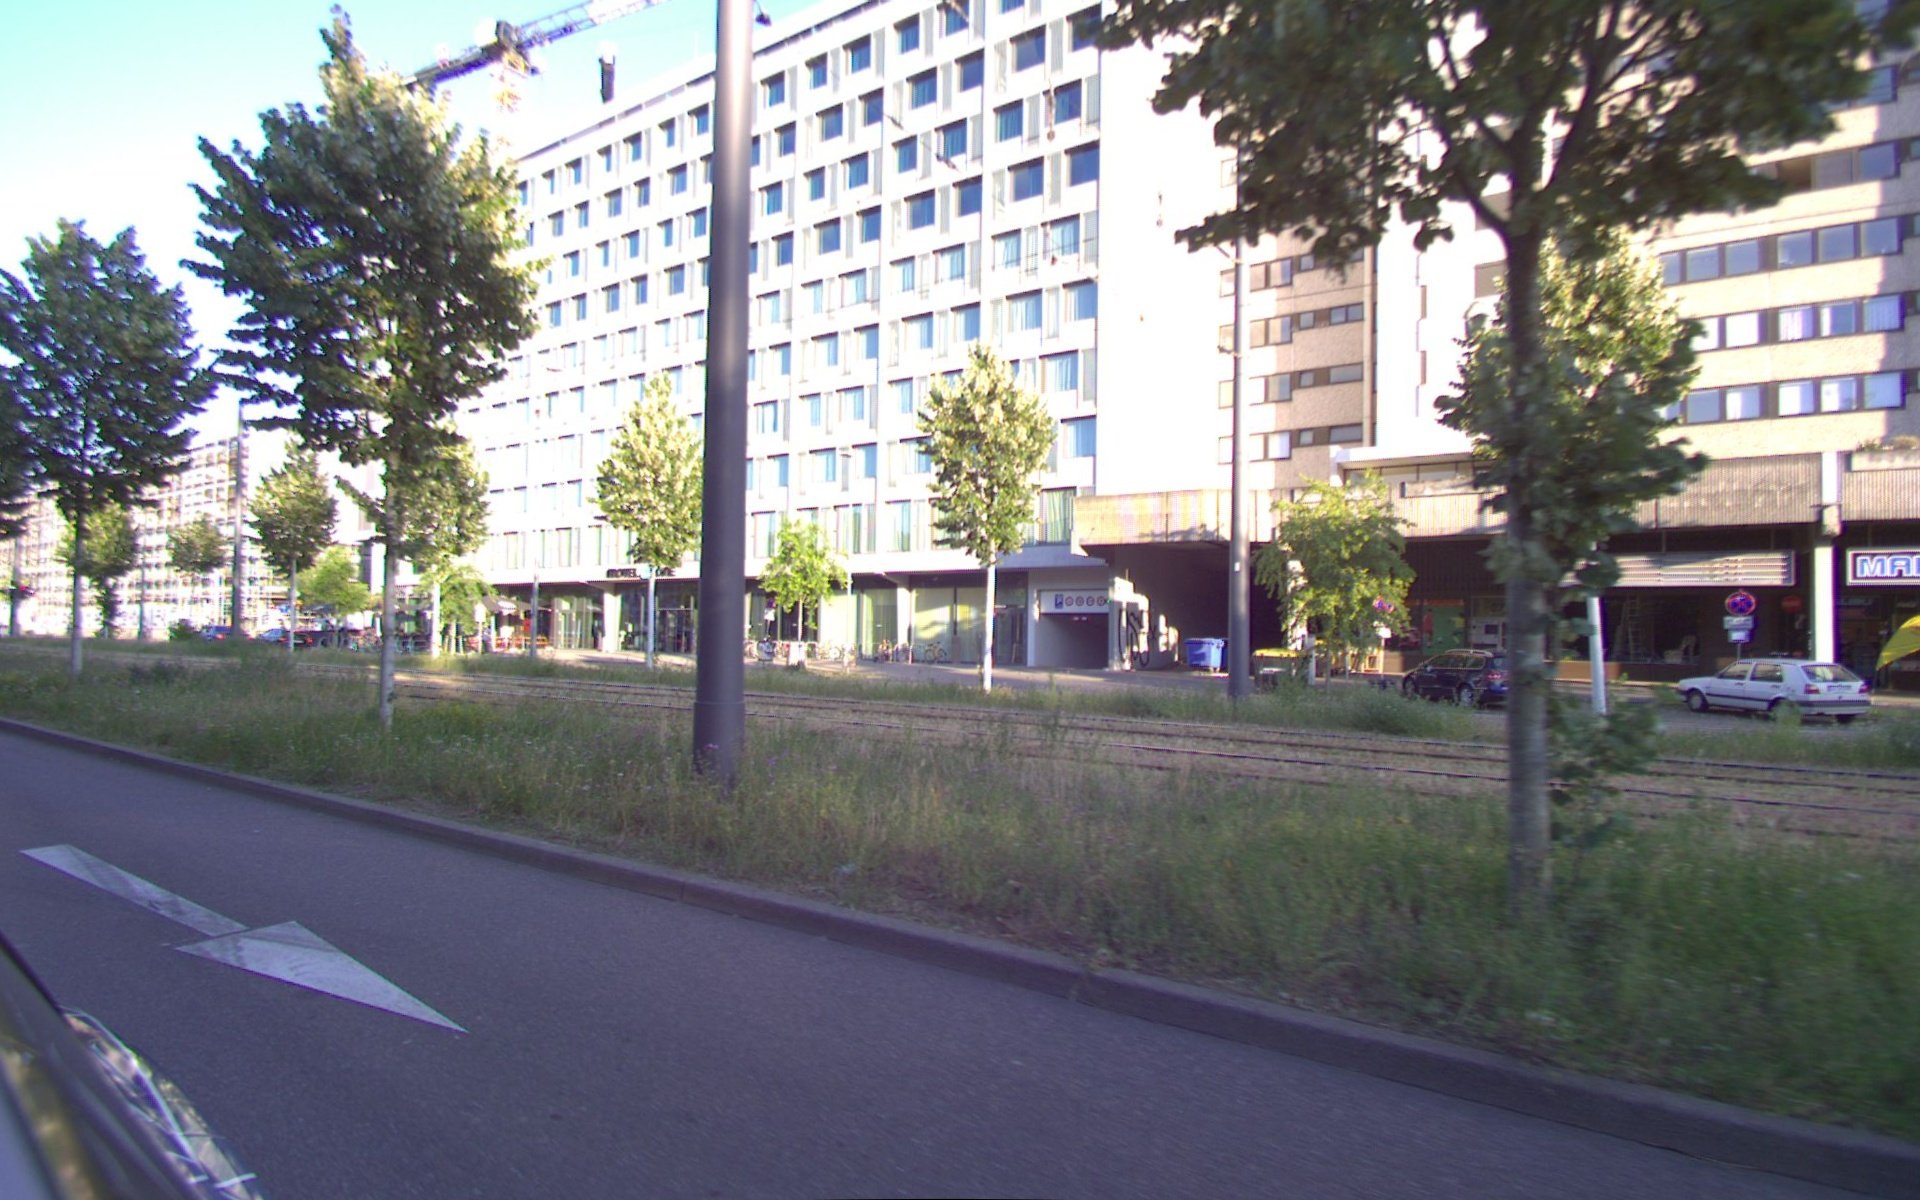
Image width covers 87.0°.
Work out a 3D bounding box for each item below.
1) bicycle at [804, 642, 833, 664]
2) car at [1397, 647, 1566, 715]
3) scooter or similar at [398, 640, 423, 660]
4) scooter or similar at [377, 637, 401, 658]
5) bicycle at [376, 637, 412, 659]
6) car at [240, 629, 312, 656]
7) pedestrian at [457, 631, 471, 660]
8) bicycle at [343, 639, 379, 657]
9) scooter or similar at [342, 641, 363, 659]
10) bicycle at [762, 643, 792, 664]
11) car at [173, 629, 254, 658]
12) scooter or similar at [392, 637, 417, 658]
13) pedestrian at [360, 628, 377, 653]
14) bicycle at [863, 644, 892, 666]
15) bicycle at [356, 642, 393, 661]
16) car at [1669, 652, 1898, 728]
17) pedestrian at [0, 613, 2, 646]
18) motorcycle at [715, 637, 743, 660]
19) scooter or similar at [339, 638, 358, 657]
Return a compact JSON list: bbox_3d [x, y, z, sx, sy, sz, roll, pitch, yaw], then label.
[{"bbox_3d":[-6.899,2.588,49.430,0.420,1.028,1.774,-1,-3,30],"label":"bicycle"},{"bbox_3d":[13.929,2.118,27.355,1.978,1.602,4.291,1,-2,-6],"label":"car"},{"bbox_3d":[-31.421,2.869,57.858,0.337,1.066,1.172,-3,0,35],"label":"scooter or similar"},{"bbox_3d":[-33.933,2.823,60.131,0.337,1.227,1.171,-1,-3,35],"label":"scooter or similar"},{"bbox_3d":[-33.317,2.826,59.611,0.441,1.208,1.895,-1,-1,31],"label":"bicycle"},{"bbox_3d":[-38.450,2.355,56.863,4.212,1.451,1.870,-1,-3,34],"label":"car"},{"bbox_3d":[-28.437,2.589,57.997,0.602,1.612,0.492,-1,-1,36],"label":"pedestrian"},{"bbox_3d":[-36.203,2.887,61.199,0.441,1.067,1.895,-1,-1,31],"label":"bicycle"},{"bbox_3d":[-37.364,3.078,62.248,0.290,1.041,0.998,1,-1,35],"label":"scooter or similar"},{"bbox_3d":[-9.192,2.674,50.875,0.420,1.028,1.730,-1,-3,30],"label":"bicycle"},{"bbox_3d":[-40.237,2.323,54.526,4.789,1.452,1.998,-1,-5,34],"label":"car"},{"bbox_3d":[-32.305,2.760,58.849,0.337,1.172,1.171,-1,-4,35],"label":"scooter or similar"},{"bbox_3d":[-39.122,2.684,66.909,0.699,1.616,0.680,-1,-1,4],"label":"pedestrian"},{"bbox_3d":[-3.819,2.536,46.875,0.420,1.028,1.774,-1,-3,30],"label":"bicycle"},{"bbox_3d":[-35.039,3.058,60.584,0.441,1.067,1.895,-1,-1,31],"label":"bicycle"},{"bbox_3d":[19.271,2.044,23.952,1.798,1.447,4.135,0,-1,-5],"label":"car"},{"bbox_3d":[-55.128,1.684,57.641,0.760,1.850,0.701,-1,-1,33],"label":"pedestrian"},{"bbox_3d":[-12.149,2.551,53.236,0.512,1.180,1.886,0,-2,19],"label":"motorcycle"},{"bbox_3d":[-38.134,2.956,63.080,0.337,1.093,0.964,2,1,35],"label":"scooter or similar"}]
